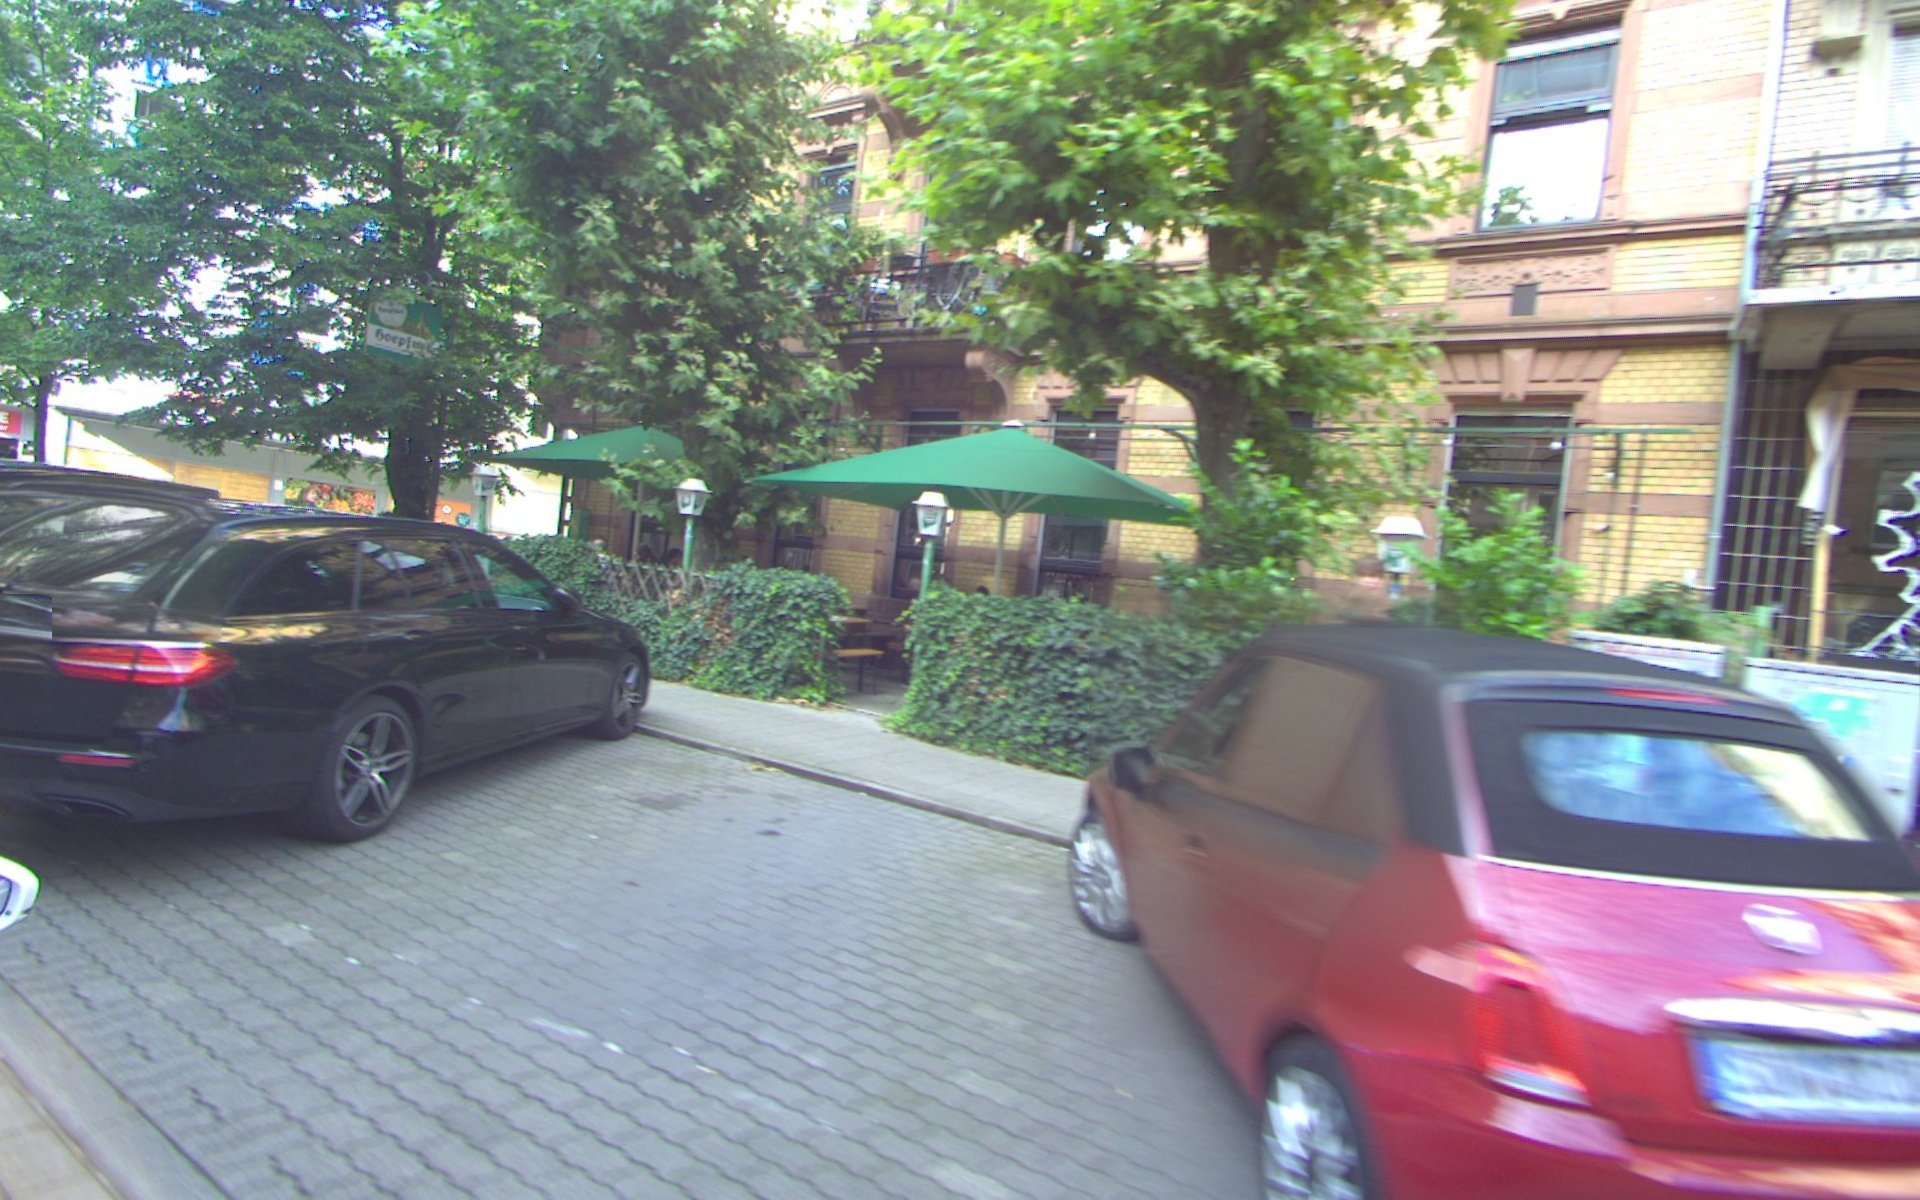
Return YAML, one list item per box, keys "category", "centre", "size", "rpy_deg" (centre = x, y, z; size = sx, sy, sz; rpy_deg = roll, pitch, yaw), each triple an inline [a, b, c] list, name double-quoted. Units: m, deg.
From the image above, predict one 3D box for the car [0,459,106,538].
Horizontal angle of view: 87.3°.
- category: "car"
  centre: [-24.774, -2.730, 25.115]
  size: [4.767, 1.747, 2.035]
  rpy_deg: [7, 3, -13]

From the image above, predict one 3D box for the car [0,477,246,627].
- category: "car"
  centre: [-10.201, -0.560, 10.929]
  size: [1.736, 1.475, 3.945]
  rpy_deg: [7, 0, 5]

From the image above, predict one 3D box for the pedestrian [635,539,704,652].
- category: "pedestrian"
  centre: [-4.322, -0.061, 14.976]
  size: [0.560, 1.590, 0.629]
  rpy_deg: [7, 2, 29]

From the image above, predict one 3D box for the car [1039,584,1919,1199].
- category: "car"
  centre: [1.500, 0.832, 3.512]
  size: [1.710, 1.504, 3.713]
  rpy_deg: [7, 2, -5]

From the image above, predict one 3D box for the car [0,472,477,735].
- category: "car"
  centre: [-6.013, -0.057, 7.694]
  size: [1.906, 1.475, 4.416]
  rpy_deg: [7, 0, 8]

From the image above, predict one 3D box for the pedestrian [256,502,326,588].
- category: "pedestrian"
  centre: [-11.831, -0.958, 17.799]
  size: [0.539, 1.410, 0.757]
  rpy_deg: [7, 1, 29]

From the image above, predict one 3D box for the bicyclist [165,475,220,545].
- category: "bicyclist"
  centre: [-20.620, -2.411, 27.019]
  size: [1.009, 1.690, 0.932]
  rpy_deg: [6, 2, -42]

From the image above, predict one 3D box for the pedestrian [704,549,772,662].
- category: "pedestrian"
  centre: [-3.276, 0.088, 14.869]
  size: [0.560, 1.590, 0.629]
  rpy_deg: [7, 2, 29]

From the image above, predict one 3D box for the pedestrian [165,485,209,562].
- category: "pedestrian"
  centre: [-18.687, -1.846, 24.310]
  size: [0.627, 1.761, 0.765]
  rpy_deg: [5, 2, -45]

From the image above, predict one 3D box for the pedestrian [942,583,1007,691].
- category: "pedestrian"
  centre: [0.181, 0.442, 12.283]
  size: [0.553, 1.236, 0.465]
  rpy_deg: [7, 4, 24]

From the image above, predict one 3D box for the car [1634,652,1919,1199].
- category: "car"
  centre: [3.561, 1.129, 1.512]
  size: [1.845, 1.484, 4.462]
  rpy_deg: [7, 2, -1]

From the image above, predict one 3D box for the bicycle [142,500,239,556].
- category: "bicycle"
  centre: [-20.660, -1.923, 27.044]
  size: [1.959, 1.215, 0.704]
  rpy_deg: [7, 1, -38]

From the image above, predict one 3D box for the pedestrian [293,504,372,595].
- category: "pedestrian"
  centre: [-10.731, -0.848, 17.216]
  size: [0.691, 1.424, 0.798]
  rpy_deg: [7, 1, 29]

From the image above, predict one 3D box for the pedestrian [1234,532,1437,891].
- category: "pedestrian"
  centre: [2.232, 0.619, 5.960]
  size: [0.712, 1.902, 0.839]
  rpy_deg: [8, 2, 37]

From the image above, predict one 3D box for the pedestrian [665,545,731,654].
- category: "pedestrian"
  centre: [-4.034, 0.005, 15.491]
  size: [0.560, 1.590, 0.629]
  rpy_deg: [7, 2, 29]

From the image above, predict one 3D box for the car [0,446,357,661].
- category: "car"
  centre: [-8.086, -0.495, 9.414]
  size: [1.787, 1.667, 4.351]
  rpy_deg: [7, 2, 7]

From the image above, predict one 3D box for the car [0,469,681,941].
- category: "car"
  centre: [-3.527, 0.220, 5.782]
  size: [2.018, 1.476, 4.765]
  rpy_deg: [8, 2, 5]

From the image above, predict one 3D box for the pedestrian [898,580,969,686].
- category: "pedestrian"
  centre: [-0.335, 0.405, 12.605]
  size: [0.638, 1.236, 0.487]
  rpy_deg: [7, 4, 24]

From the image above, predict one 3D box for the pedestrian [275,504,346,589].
- category: "pedestrian"
  centre: [-11.317, -0.917, 17.537]
  size: [0.586, 1.359, 0.757]
  rpy_deg: [7, 1, 29]
